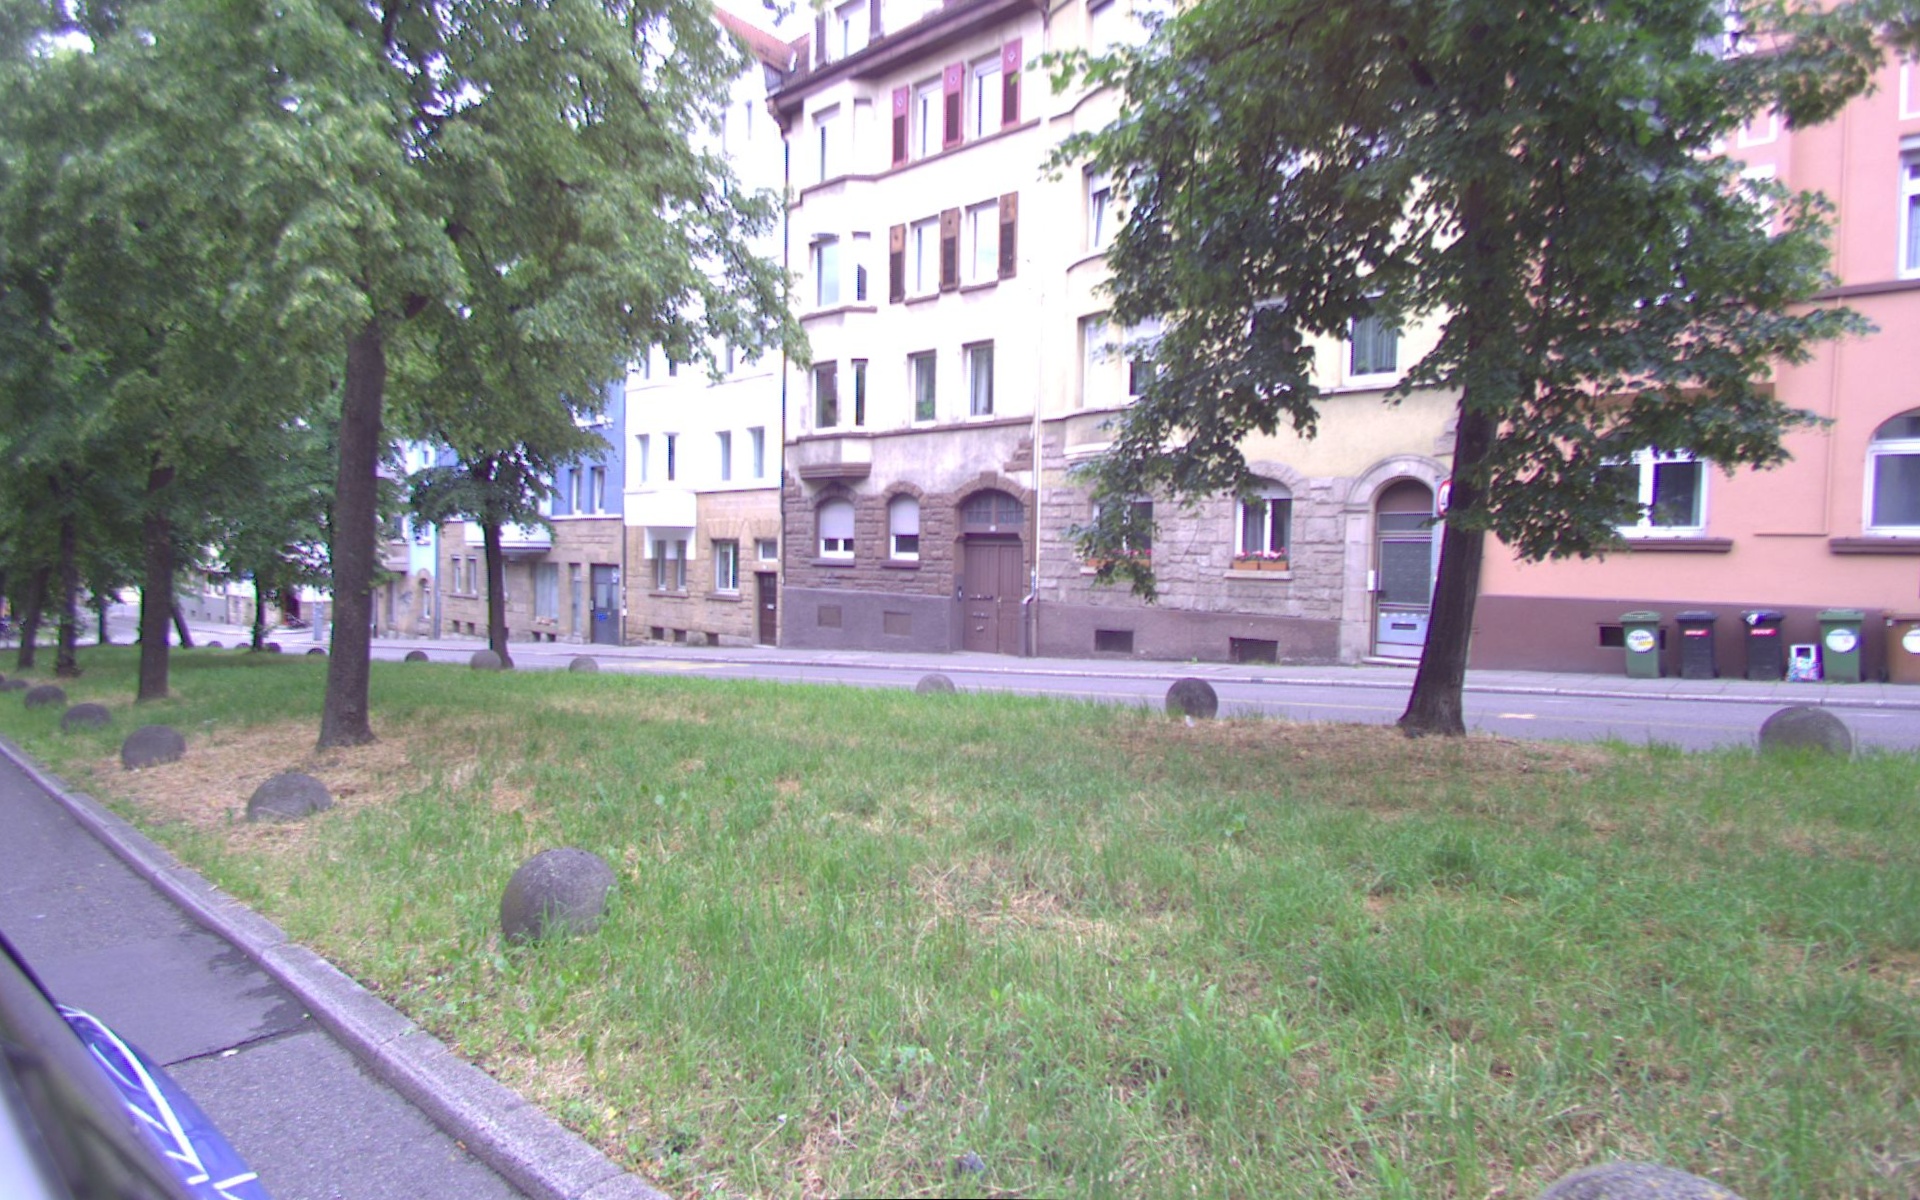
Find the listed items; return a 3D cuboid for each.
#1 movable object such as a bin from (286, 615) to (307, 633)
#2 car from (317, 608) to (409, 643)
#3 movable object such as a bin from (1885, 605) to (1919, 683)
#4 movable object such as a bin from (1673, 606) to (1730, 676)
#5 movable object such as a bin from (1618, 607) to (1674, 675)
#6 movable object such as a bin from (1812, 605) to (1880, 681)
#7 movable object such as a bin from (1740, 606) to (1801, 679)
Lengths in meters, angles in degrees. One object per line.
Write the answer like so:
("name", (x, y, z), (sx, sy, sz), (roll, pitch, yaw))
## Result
("movable object such as a bin", (-39.661, 1.452, 60.495), (0.668, 1.001, 0.876), (0, 3, 40))
("car", (-33.418, 1.392, 56.705), (1.870, 1.480, 3.959), (2, 7, 39))
("movable object such as a bin", (11.784, 0.534, 12.398), (0.601, 0.911, 0.603), (-1, 1, 38))
("movable object such as a bin", (10.167, 0.555, 13.872), (0.601, 0.911, 0.603), (-1, 1, 38))
("movable object such as a bin", (9.675, 0.563, 14.271), (0.601, 0.911, 0.603), (-1, 1, 38))
("movable object such as a bin", (11.257, 0.538, 12.875), (0.601, 0.911, 0.603), (-1, 1, 38))
("movable object such as a bin", (10.696, 0.545, 13.379), (0.601, 0.911, 0.603), (-1, 1, 38))
